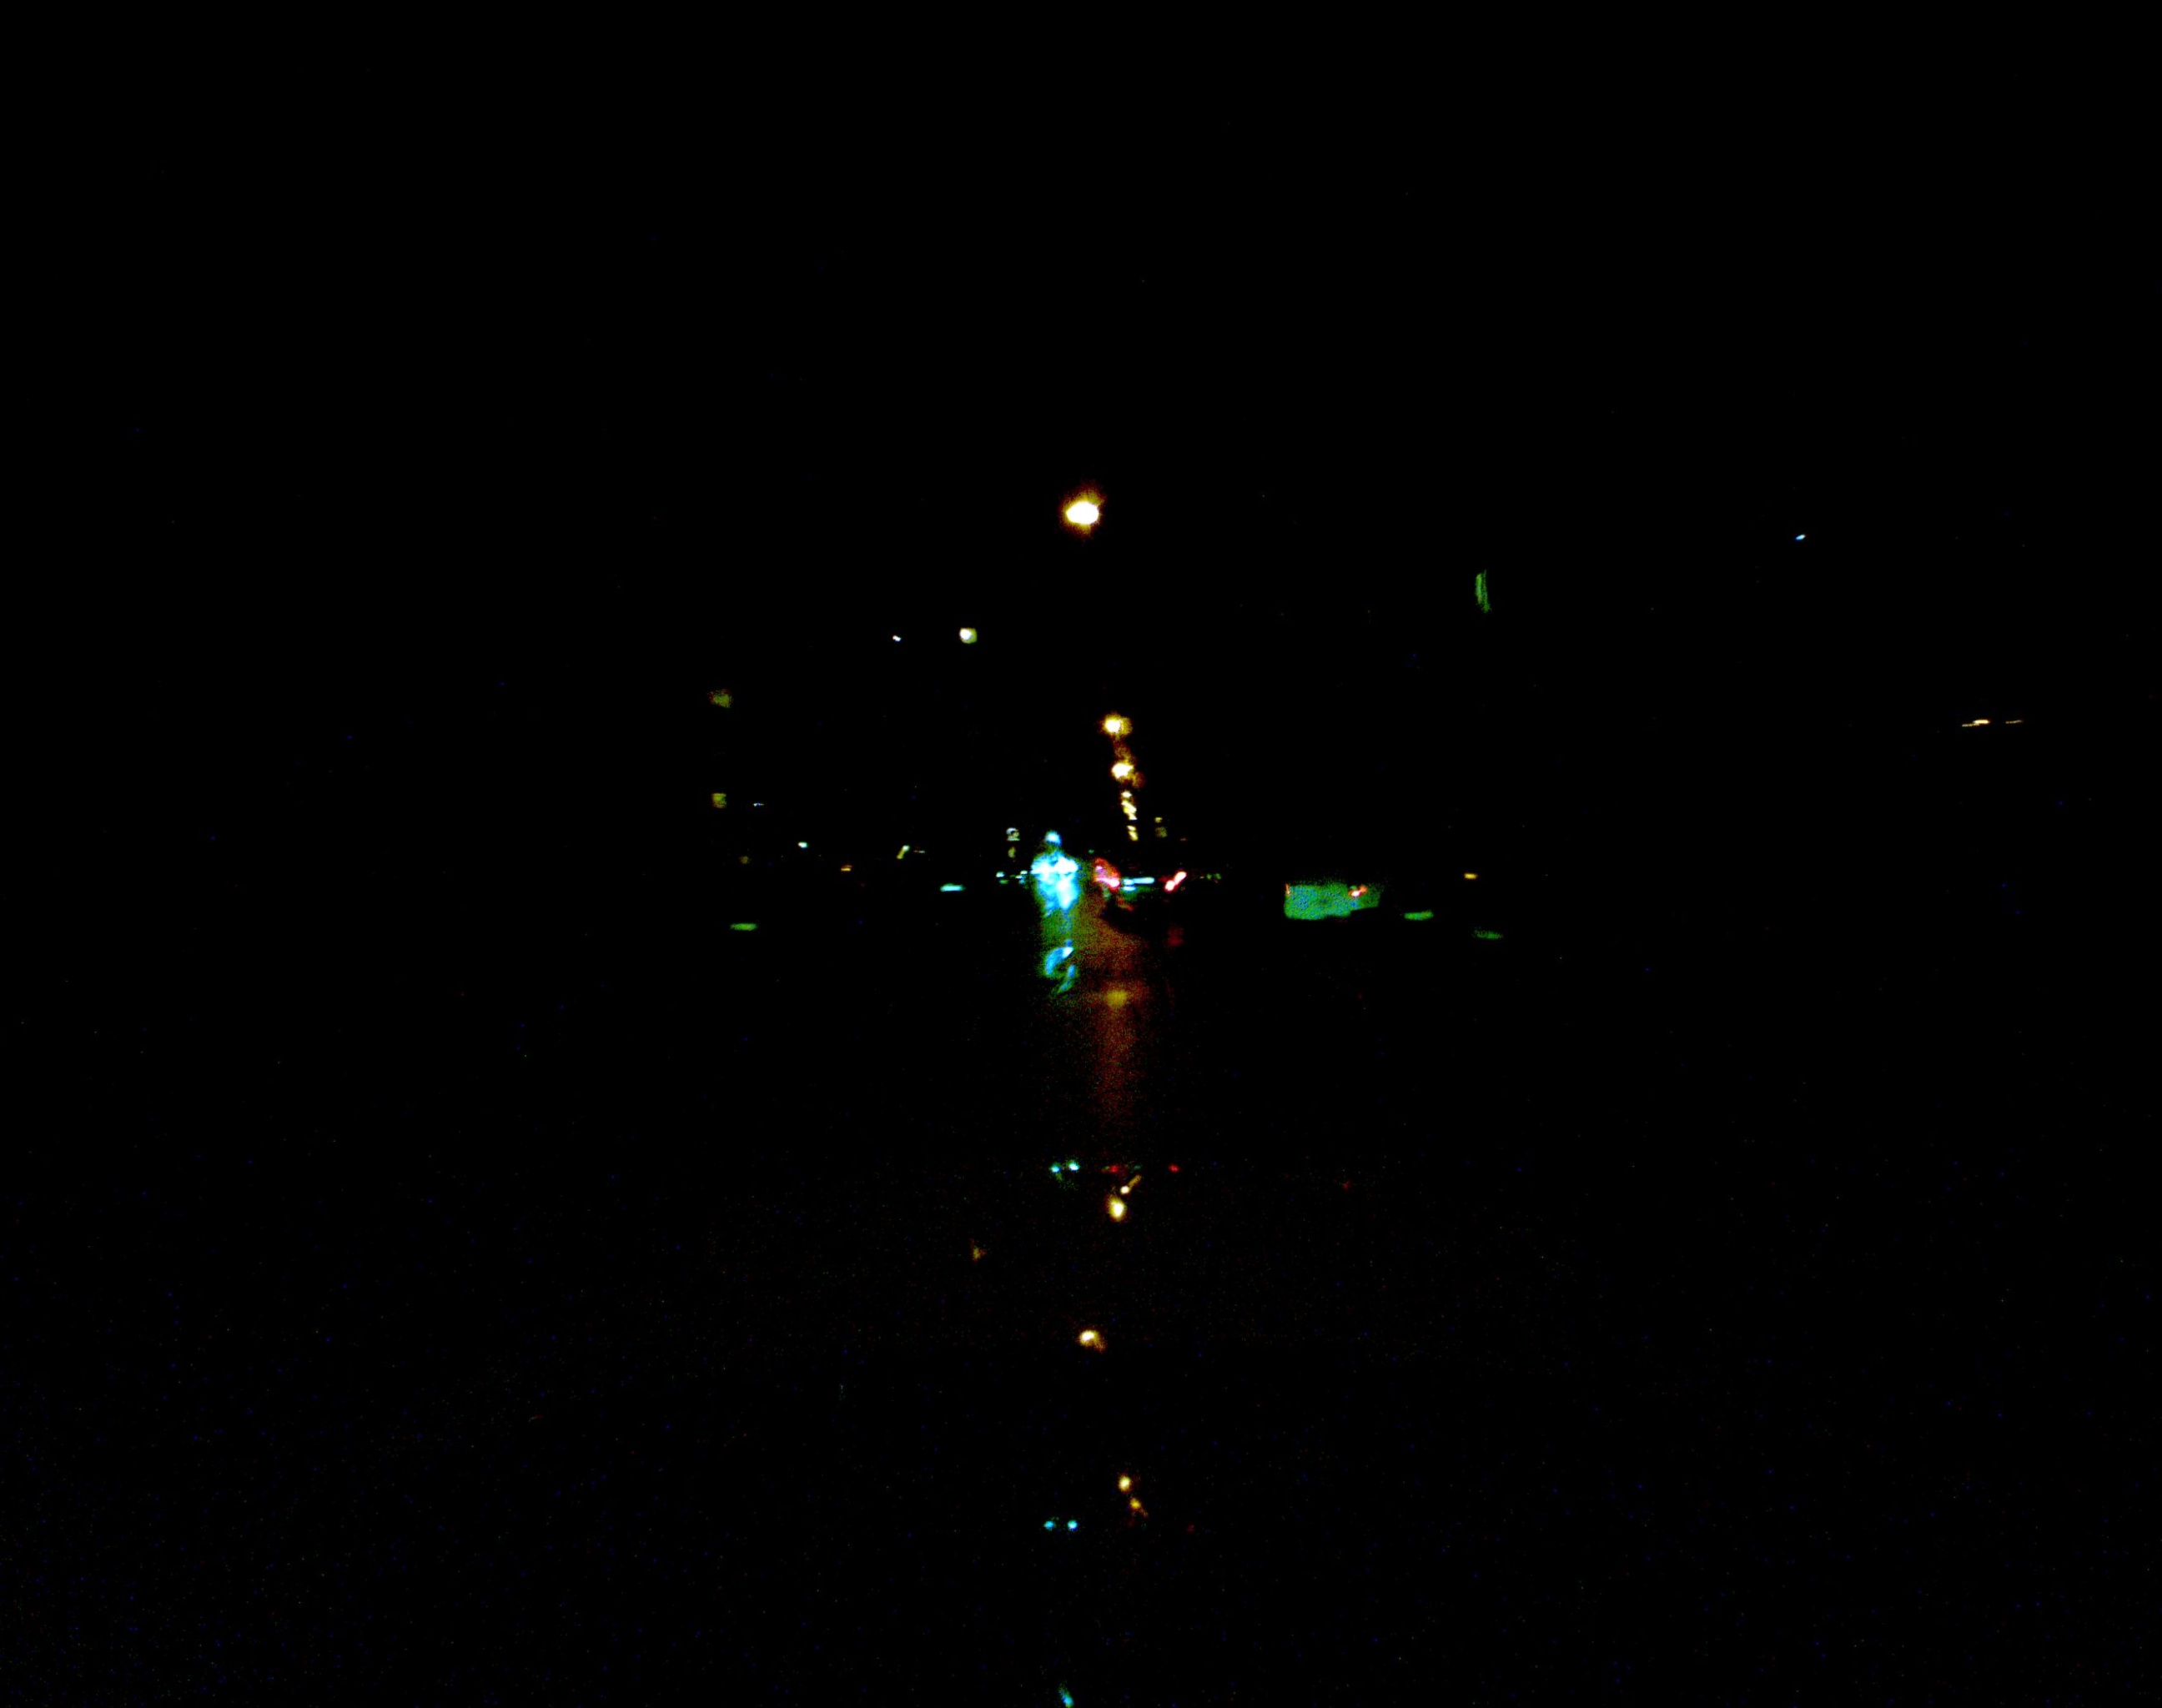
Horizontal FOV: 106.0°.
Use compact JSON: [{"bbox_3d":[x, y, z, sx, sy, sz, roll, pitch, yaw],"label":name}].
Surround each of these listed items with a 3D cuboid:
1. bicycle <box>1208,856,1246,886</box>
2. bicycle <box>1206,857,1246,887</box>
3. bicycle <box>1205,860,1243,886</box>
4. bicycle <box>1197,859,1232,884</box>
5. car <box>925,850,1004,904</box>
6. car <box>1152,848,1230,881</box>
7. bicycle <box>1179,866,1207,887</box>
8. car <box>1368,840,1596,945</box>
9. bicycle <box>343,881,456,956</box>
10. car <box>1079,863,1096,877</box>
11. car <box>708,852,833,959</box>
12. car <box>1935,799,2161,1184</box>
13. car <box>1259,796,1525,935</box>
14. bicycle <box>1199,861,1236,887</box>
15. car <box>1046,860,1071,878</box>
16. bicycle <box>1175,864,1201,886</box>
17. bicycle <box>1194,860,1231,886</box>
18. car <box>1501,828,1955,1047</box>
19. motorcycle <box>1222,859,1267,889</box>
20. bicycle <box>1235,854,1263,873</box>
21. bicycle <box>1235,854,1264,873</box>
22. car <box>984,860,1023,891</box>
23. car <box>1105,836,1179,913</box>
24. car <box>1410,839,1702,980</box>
[{"bbox_3d":[6.413,0.762,35.771,1.572,1.234,0.418,-3,0,5],"label":"bicycle"},{"bbox_3d":[6.277,0.772,35.259,1.656,1.234,0.386,-3,0,5],"label":"bicycle"},{"bbox_3d":[6.459,0.865,36.820,1.590,1.112,0.418,-3,0,0],"label":"bicycle"},{"bbox_3d":[6.465,0.838,39.362,1.585,1.158,0.541,-3,0,11],"label":"bicycle"},{"bbox_3d":[-4.292,0.808,30.753,1.858,1.846,4.833,-2,0,5],"label":"car"},{"bbox_3d":[5.843,0.545,43.115,3.715,1.522,1.645,-3,-1,-22],"label":"car"},{"bbox_3d":[5.009,1.007,36.563,1.207,0.948,0.302,0,0,0],"label":"bicycle"},{"bbox_3d":[6.736,0.578,13.665,3.461,1.468,1.616,-2,0,-26],"label":"car"},{"bbox_3d":[-11.357,1.068,13.561,1.947,1.180,0.544,-2,-1,21],"label":"bicycle"},{"bbox_3d":[0.772,1.759,91.767,1.679,1.455,4.319,0,0,4],"label":"car"},{"bbox_3d":[-5.663,0.826,15.319,1.816,1.670,4.386,-1,0,-16],"label":"car"},{"bbox_3d":[5.940,0.517,4.106,3.524,1.561,1.578,-1,-1,-33],"label":"car"},{"bbox_3d":[6.112,0.161,15.876,4.958,2.341,2.210,-1,-1,-31],"label":"car"},{"bbox_3d":[6.324,0.918,37.722,1.590,1.158,0.418,-2,-1,0],"label":"bicycle"},{"bbox_3d":[-1.796,1.170,65.991,1.647,1.359,4.226,-1,0,4],"label":"car"},{"bbox_3d":[5.084,0.988,38.668,1.128,0.974,0.249,-3,0,1],"label":"bicycle"},{"bbox_3d":[6.163,0.891,38.167,1.590,1.158,0.418,-3,0,0],"label":"bicycle"},{"bbox_3d":[6.115,0.601,7.664,4.060,1.561,1.736,-2,-1,-26],"label":"car"},{"bbox_3d":[6.661,0.813,33.150,1.629,1.124,0.652,-4,0,-4],"label":"motorcycle"},{"bbox_3d":[11.105,0.638,53.771,1.682,1.146,0.485,-4,0,-5],"label":"bicycle"},{"bbox_3d":[11.014,0.633,53.240,1.682,1.146,0.428,-4,0,-5],"label":"bicycle"},{"bbox_3d":[-3.831,1.027,39.935,1.547,1.443,3.550,1,0,-11],"label":"car"},{"bbox_3d":[1.782,0.595,23.976,1.985,2.050,4.004,-1,-1,4],"label":"car"},{"bbox_3d":[6.369,0.630,10.861,3.739,1.468,1.599,-3,1,-28],"label":"car"}]
